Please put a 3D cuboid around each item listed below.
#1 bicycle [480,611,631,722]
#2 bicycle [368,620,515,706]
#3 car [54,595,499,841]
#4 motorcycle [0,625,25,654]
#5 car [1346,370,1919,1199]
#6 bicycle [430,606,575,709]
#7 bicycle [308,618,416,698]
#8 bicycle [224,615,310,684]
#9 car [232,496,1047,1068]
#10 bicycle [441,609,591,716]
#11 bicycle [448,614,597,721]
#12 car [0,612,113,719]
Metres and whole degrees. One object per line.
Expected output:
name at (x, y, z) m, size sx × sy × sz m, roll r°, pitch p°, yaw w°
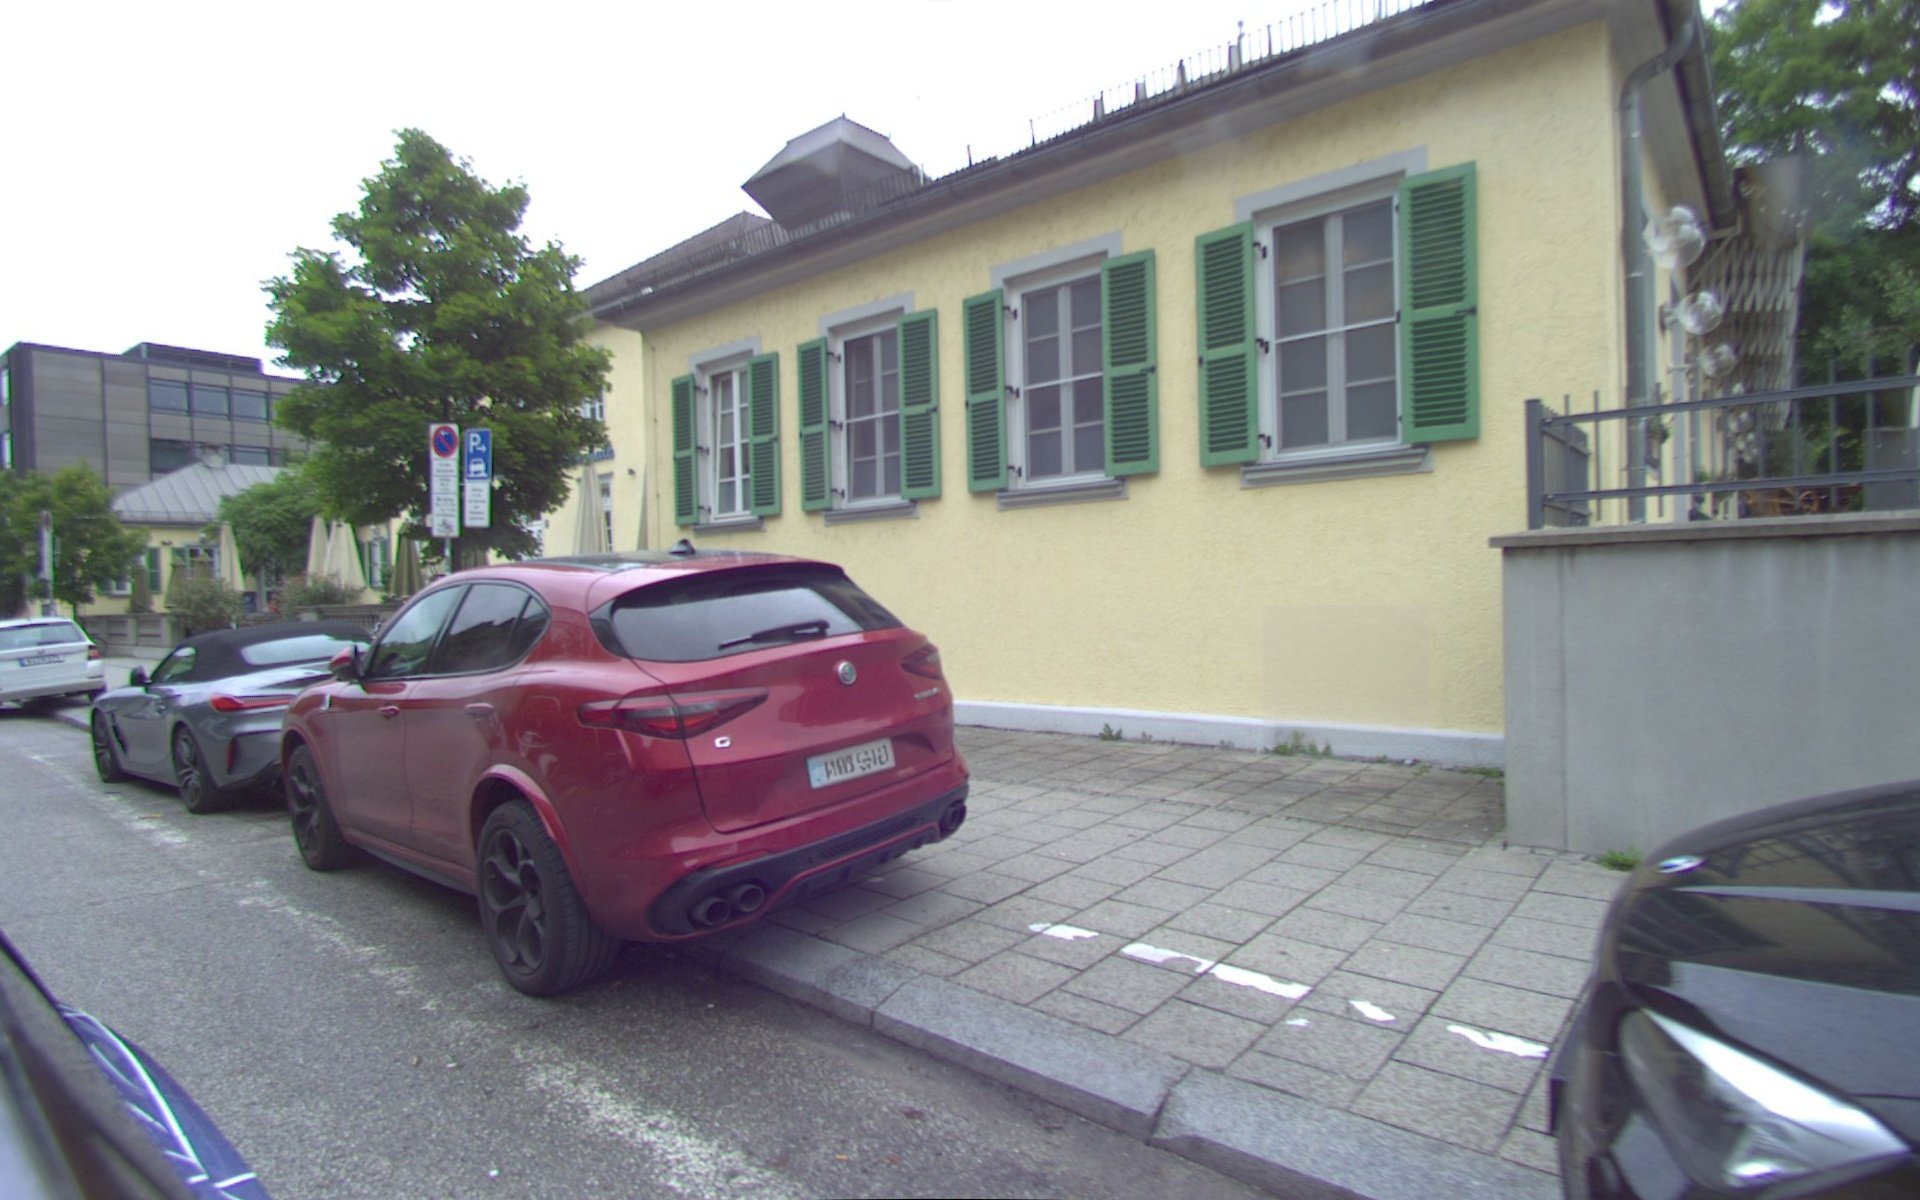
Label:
bicycle at (-4.716, 0.744, 11.869) m, size 0.642 × 1.157 × 1.474 m, roll -2°, pitch 1°, yaw 43°
bicycle at (-7.312, 0.858, 14.314) m, size 1.703 × 1.035 × 0.645 m, roll -4°, pitch 1°, yaw -42°
car at (-6.128, 0.820, 8.846) m, size 4.649 × 1.530 × 1.878 m, roll -2°, pitch 2°, yaw 39°
motorcycle at (-39.136, 1.643, 41.048) m, size 1.641 × 1.120 × 0.591 m, roll -4°, pitch 3°, yaw -9°
car at (2.931, 0.495, 0.522) m, size 4.743 × 1.619 × 1.825 m, roll -1°, pitch 2°, yaw 43°
bicycle at (-5.865, 0.707, 13.032) m, size 1.609 × 1.182 × 0.467 m, roll -3°, pitch 1°, yaw -42°
bicycle at (-9.029, 0.845, 15.353) m, size 0.629 × 1.096 × 1.633 m, roll -2°, pitch 0°, yaw 1°
bicycle at (-13.709, 0.955, 20.068) m, size 0.563 × 1.271 × 1.568 m, roll -2°, pitch 0°, yaw 1°
car at (-2.050, 0.537, 5.328) m, size 4.807 × 1.704 × 1.882 m, roll -1°, pitch 2°, yaw 42°
bicycle at (-5.427, 0.735, 12.459) m, size 0.352 × 1.180 × 1.684 m, roll -2°, pitch 0°, yaw 39°
bicycle at (-5.209, 0.769, 12.132) m, size 0.387 × 1.145 × 1.612 m, roll -2°, pitch 0°, yaw 39°
car at (-15.600, 1.023, 16.736) m, size 4.459 × 1.503 × 1.707 m, roll -1°, pitch 2°, yaw 41°
